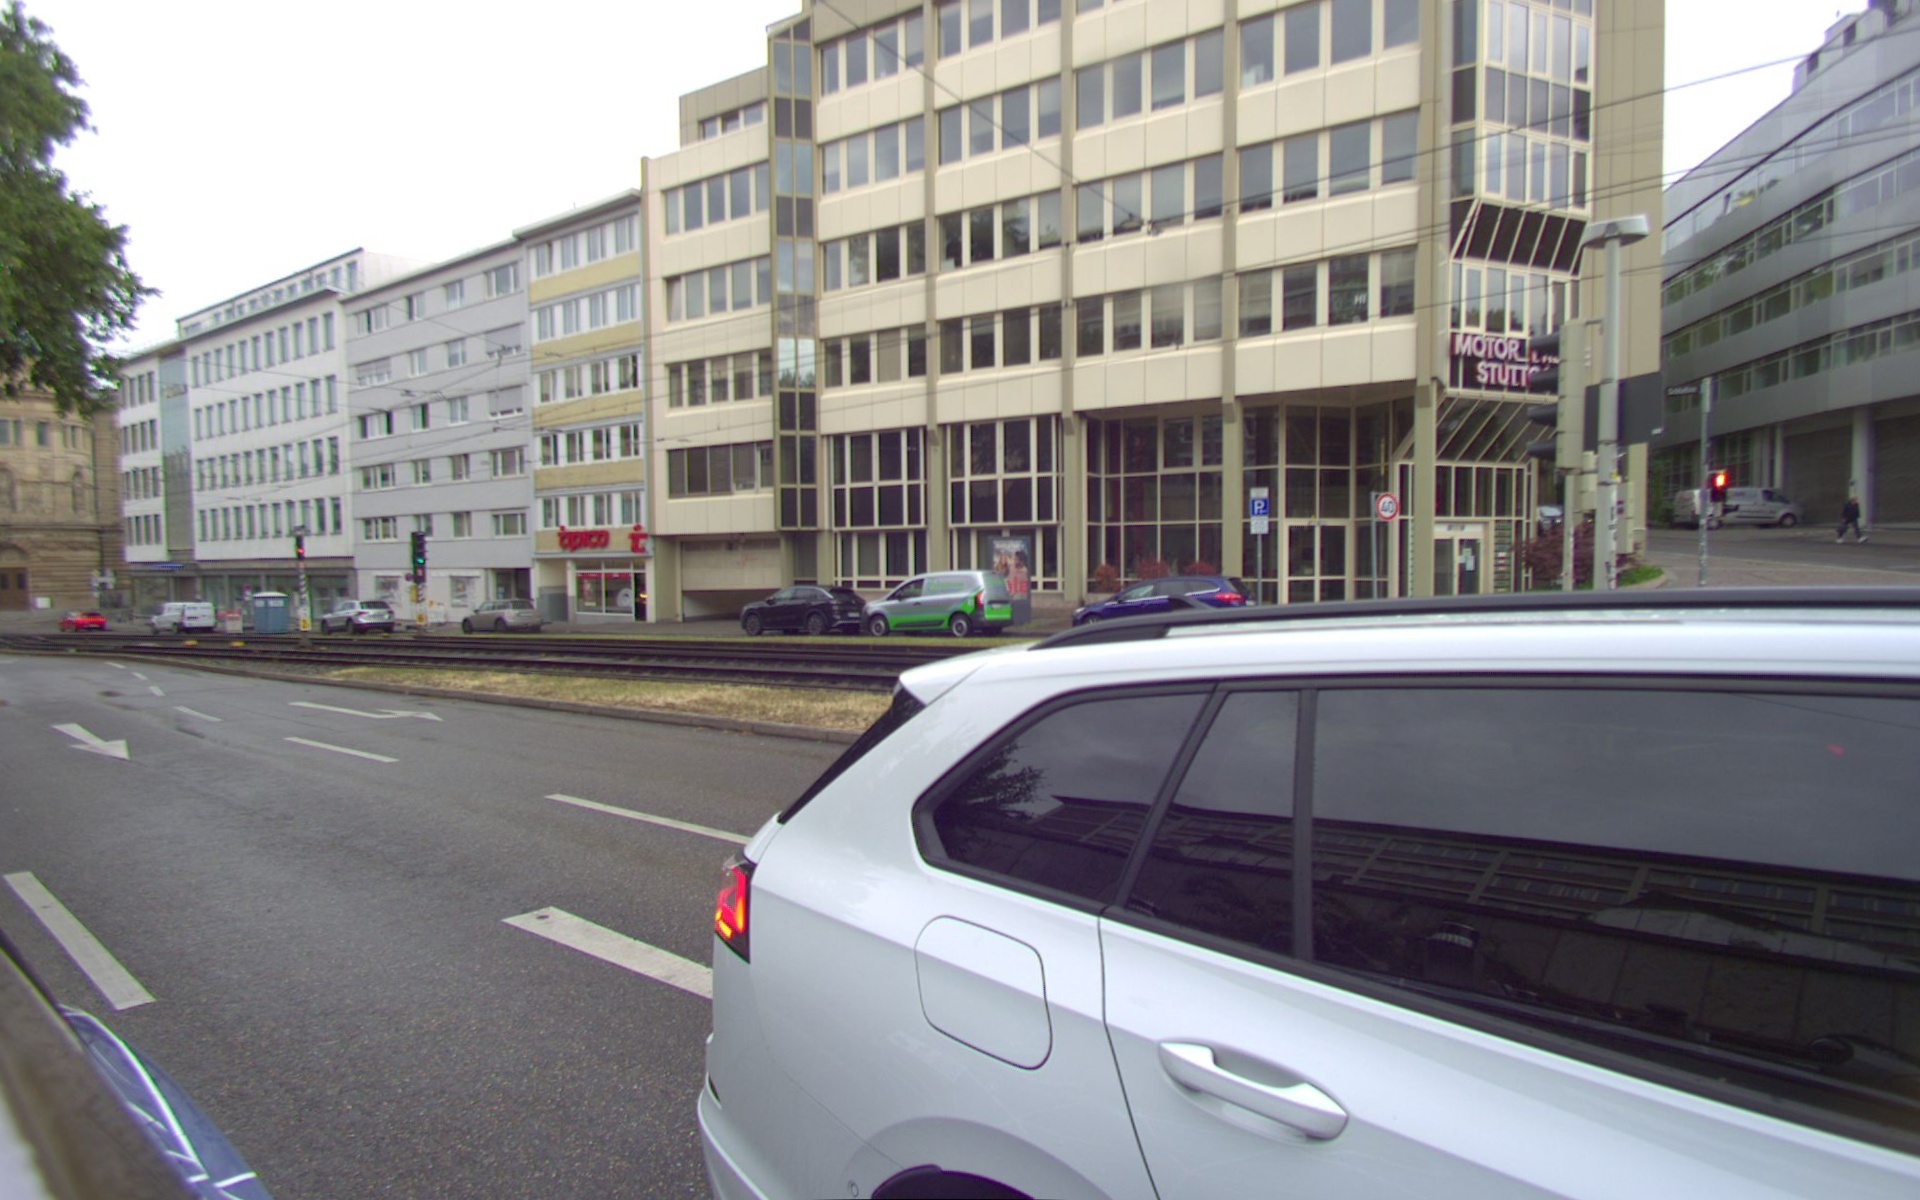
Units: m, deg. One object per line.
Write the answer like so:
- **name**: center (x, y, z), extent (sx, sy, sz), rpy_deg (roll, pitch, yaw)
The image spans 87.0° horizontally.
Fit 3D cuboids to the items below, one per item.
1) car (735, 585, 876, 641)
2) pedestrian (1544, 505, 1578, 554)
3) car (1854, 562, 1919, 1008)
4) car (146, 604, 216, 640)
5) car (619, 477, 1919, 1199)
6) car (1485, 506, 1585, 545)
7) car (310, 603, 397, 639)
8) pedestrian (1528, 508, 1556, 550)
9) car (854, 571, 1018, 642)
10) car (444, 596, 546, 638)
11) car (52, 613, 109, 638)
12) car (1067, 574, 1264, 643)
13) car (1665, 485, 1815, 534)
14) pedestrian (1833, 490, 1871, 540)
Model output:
- **car**: center (-4.729, 0.380, 30.765), extent (4.066, 1.524, 1.782), rpy_deg (-1, 3, 34)
- **pedestrian**: center (22.306, -2.607, 37.585), extent (0.821, 1.800, 0.759), rpy_deg (-2, 3, 6)
- **car**: center (5.287, 0.575, 2.569), extent (4.473, 1.453, 1.777), rpy_deg (-1, 0, 41)
- **car**: center (-46.561, 1.289, 60.464), extent (4.465, 1.949, 1.869), rpy_deg (-1, 3, 34)
- **car**: center (1.598, 0.623, 1.171), extent (4.473, 1.453, 1.777), rpy_deg (-1, 0, 41)
- **car**: center (25.959, -3.428, 45.916), extent (1.974, 1.591, 4.884), rpy_deg (-2, 5, 3)
- **car**: center (-28.323, 0.949, 47.220), extent (4.066, 1.524, 1.869), rpy_deg (-1, 3, 34)
- **pedestrian**: center (23.199, -2.822, 40.370), extent (0.711, 1.651, 0.759), rpy_deg (-2, 3, 6)
- **car**: center (-0.688, 0.170, 27.875), extent (4.204, 1.759, 1.782), rpy_deg (-1, 2, 33)
- **car**: center (-18.726, 0.666, 40.718), extent (4.066, 1.524, 1.782), rpy_deg (-1, 3, 34)
- **car**: center (-62.219, 1.778, 71.569), extent (4.465, 1.636, 1.869), rpy_deg (-1, 3, 34)
- **car**: center (4.805, 0.194, 23.860), extent (4.207, 1.488, 1.780), rpy_deg (-1, 0, 35)
- **car**: center (37.615, -4.345, 48.947), extent (5.357, 2.029, 1.993), rpy_deg (-1, 0, 12)
- **pedestrian**: center (33.956, -3.225, 38.543), extent (0.711, 1.874, 0.847), rpy_deg (-2, 3, 6)
